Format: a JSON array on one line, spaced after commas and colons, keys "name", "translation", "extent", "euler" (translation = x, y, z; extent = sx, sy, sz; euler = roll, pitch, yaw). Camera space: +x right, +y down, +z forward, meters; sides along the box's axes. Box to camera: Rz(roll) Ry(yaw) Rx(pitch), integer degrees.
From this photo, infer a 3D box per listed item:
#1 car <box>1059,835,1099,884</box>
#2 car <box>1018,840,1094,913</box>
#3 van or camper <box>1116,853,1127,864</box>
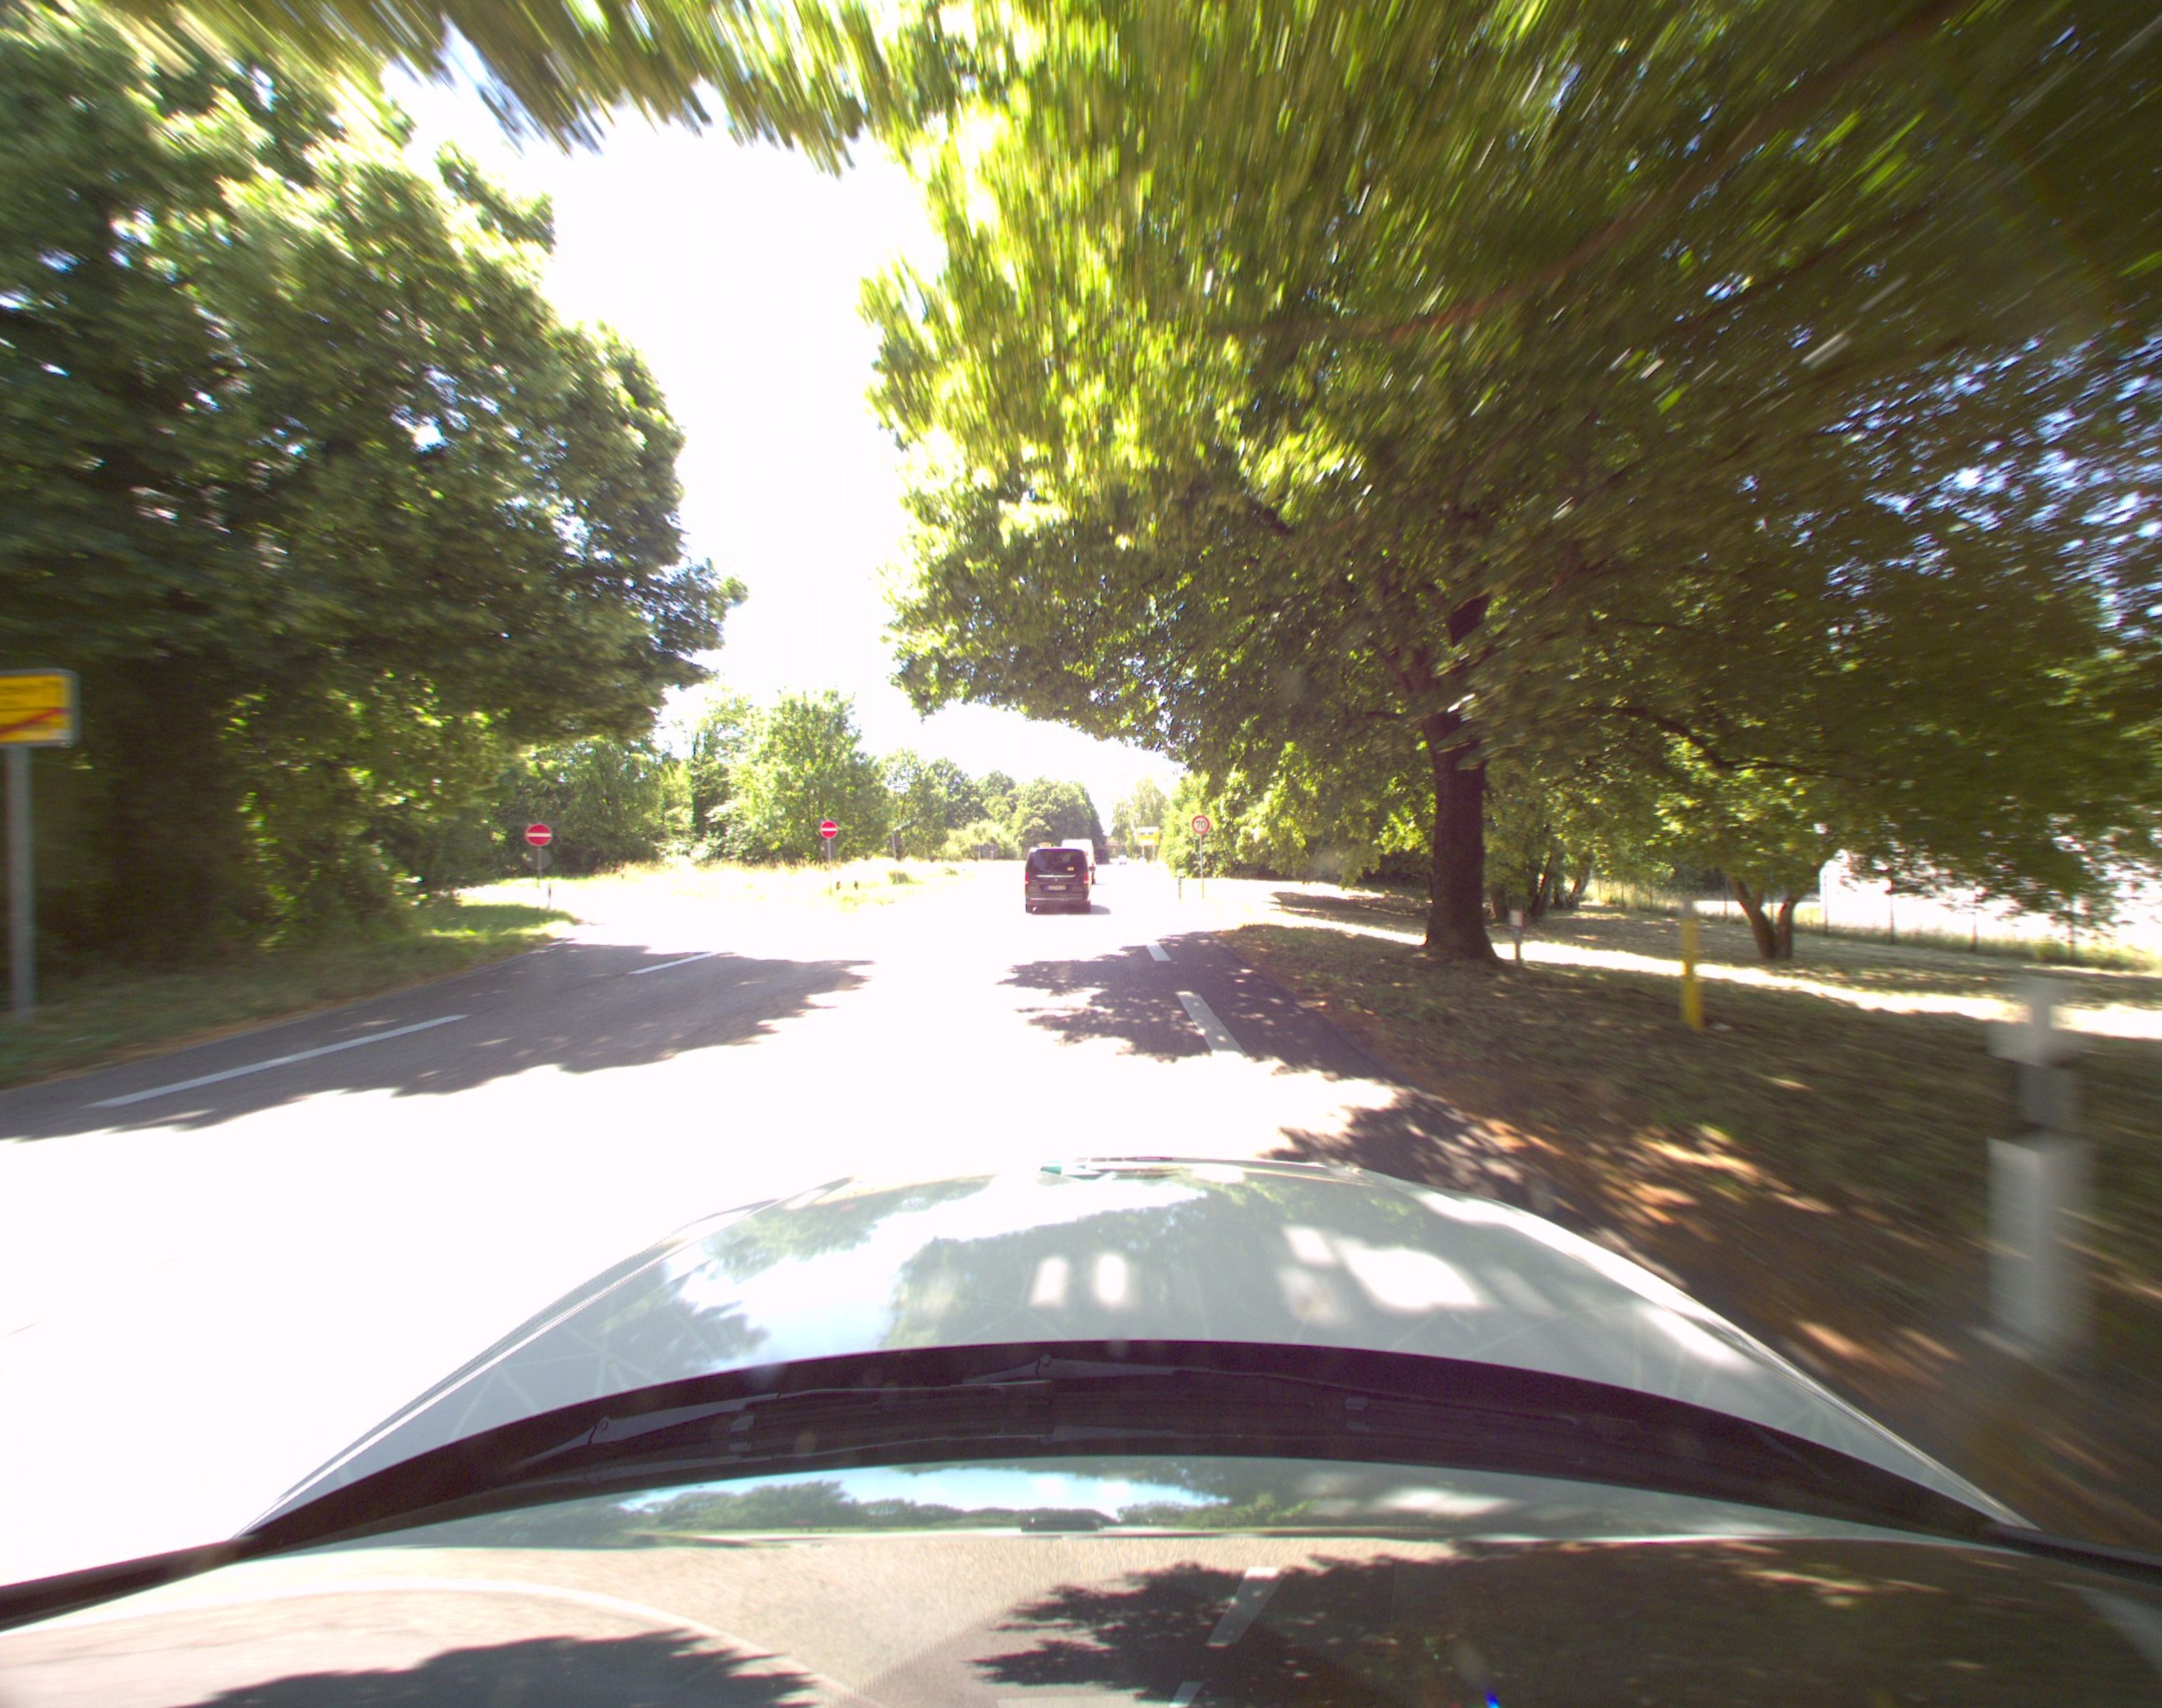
[{"name": "car", "translation": [-0.044, 0.333, 47.885], "extent": [2.070, 2.702, 4.669], "euler": [1, 0, 3]}, {"name": "car", "translation": [-0.640, 0.622, 24.584], "extent": [1.986, 1.952, 5.006], "euler": [1, 0, 1]}, {"name": "van or camper", "translation": [10.438, 1.164, 210.740], "extent": [2.623, 2.929, 5.206], "euler": [0, -1, 0]}]
